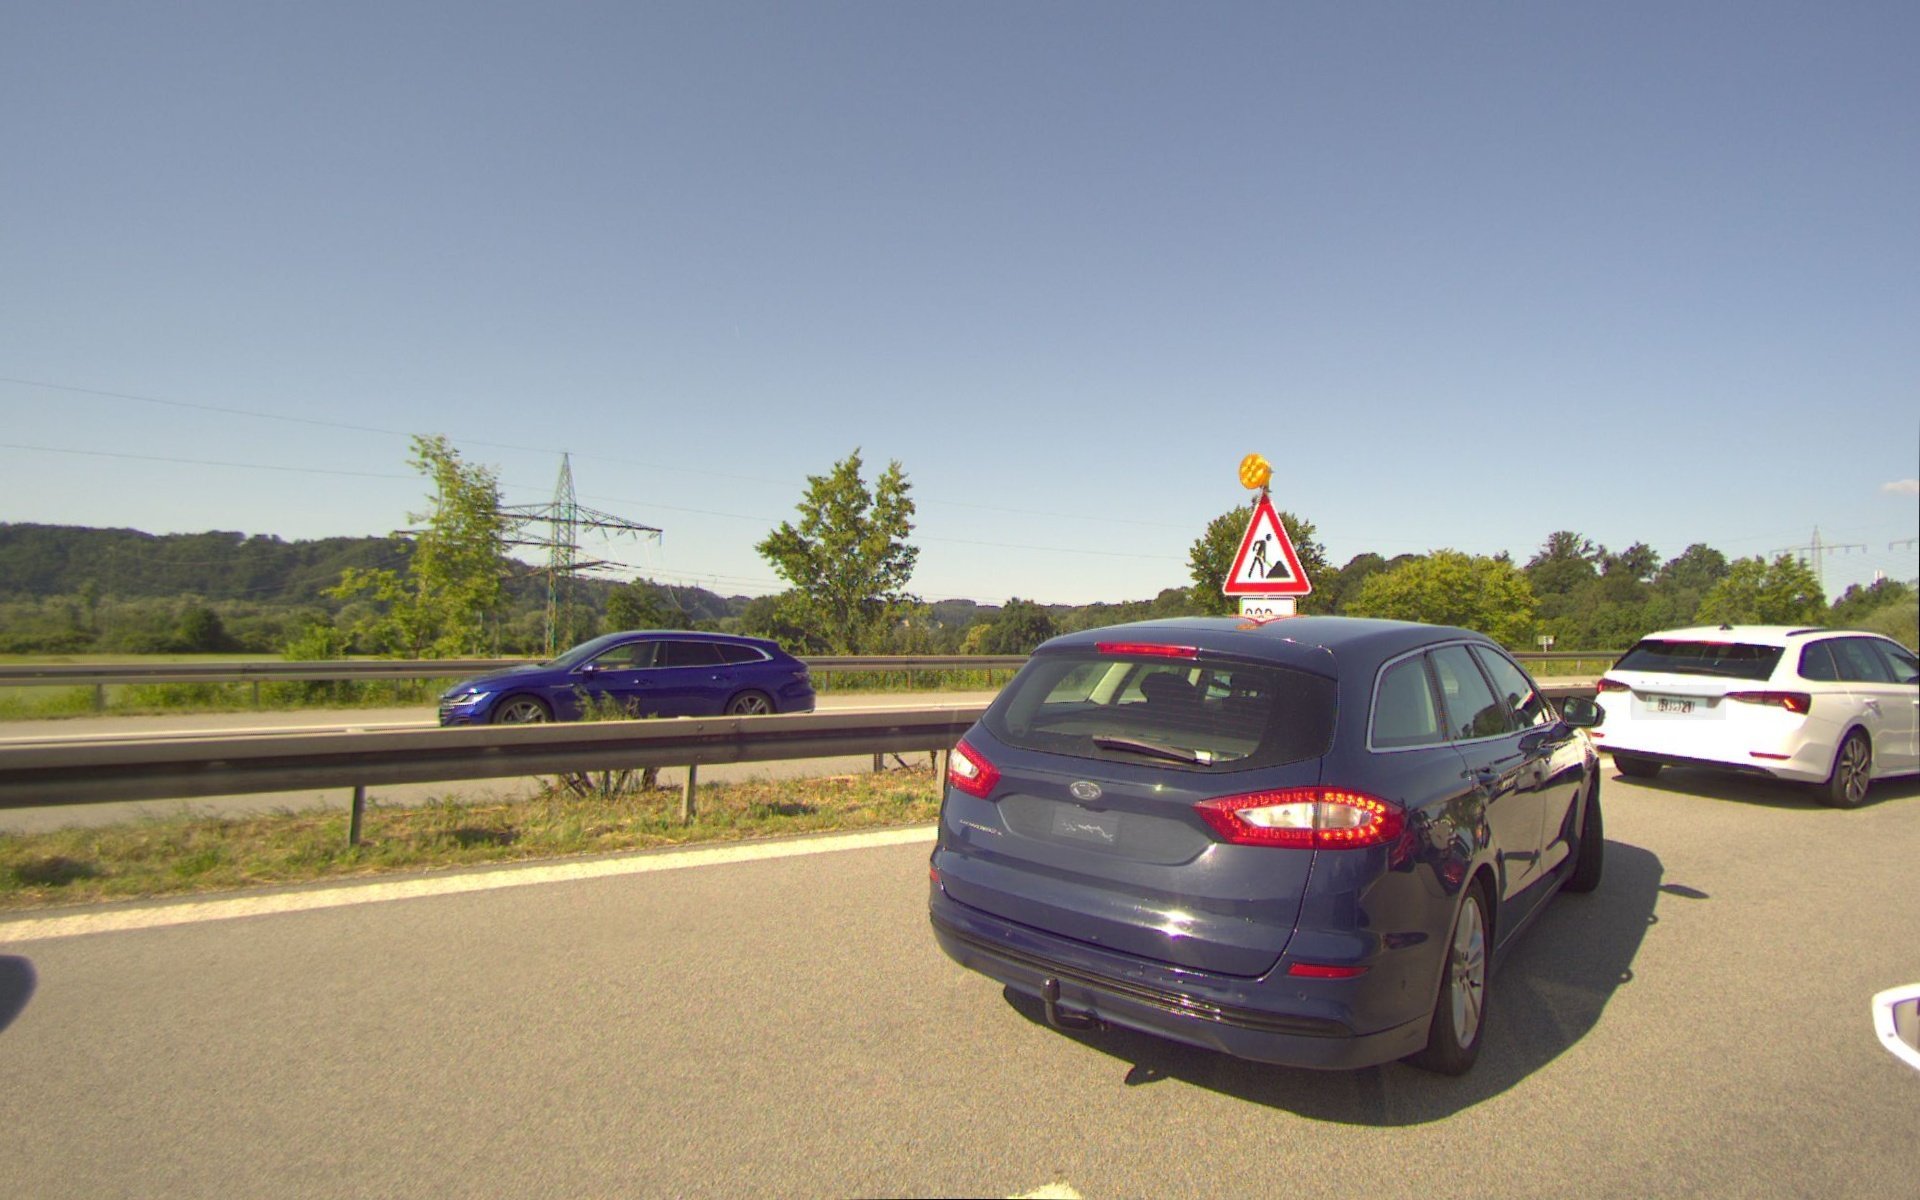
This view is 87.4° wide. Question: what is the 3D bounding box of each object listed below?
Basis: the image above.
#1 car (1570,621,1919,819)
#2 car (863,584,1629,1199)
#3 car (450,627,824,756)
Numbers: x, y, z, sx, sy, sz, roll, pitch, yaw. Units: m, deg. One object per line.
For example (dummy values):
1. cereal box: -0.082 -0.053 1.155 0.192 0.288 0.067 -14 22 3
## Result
1. car: 7.752 0.966 9.383 4.159 1.461 1.687 1 0 -30
2. car: 1.755 0.773 4.636 1.767 1.513 4.472 -1 -2 40
3. car: -4.254 1.117 13.444 4.512 1.432 1.705 1 0 -30
